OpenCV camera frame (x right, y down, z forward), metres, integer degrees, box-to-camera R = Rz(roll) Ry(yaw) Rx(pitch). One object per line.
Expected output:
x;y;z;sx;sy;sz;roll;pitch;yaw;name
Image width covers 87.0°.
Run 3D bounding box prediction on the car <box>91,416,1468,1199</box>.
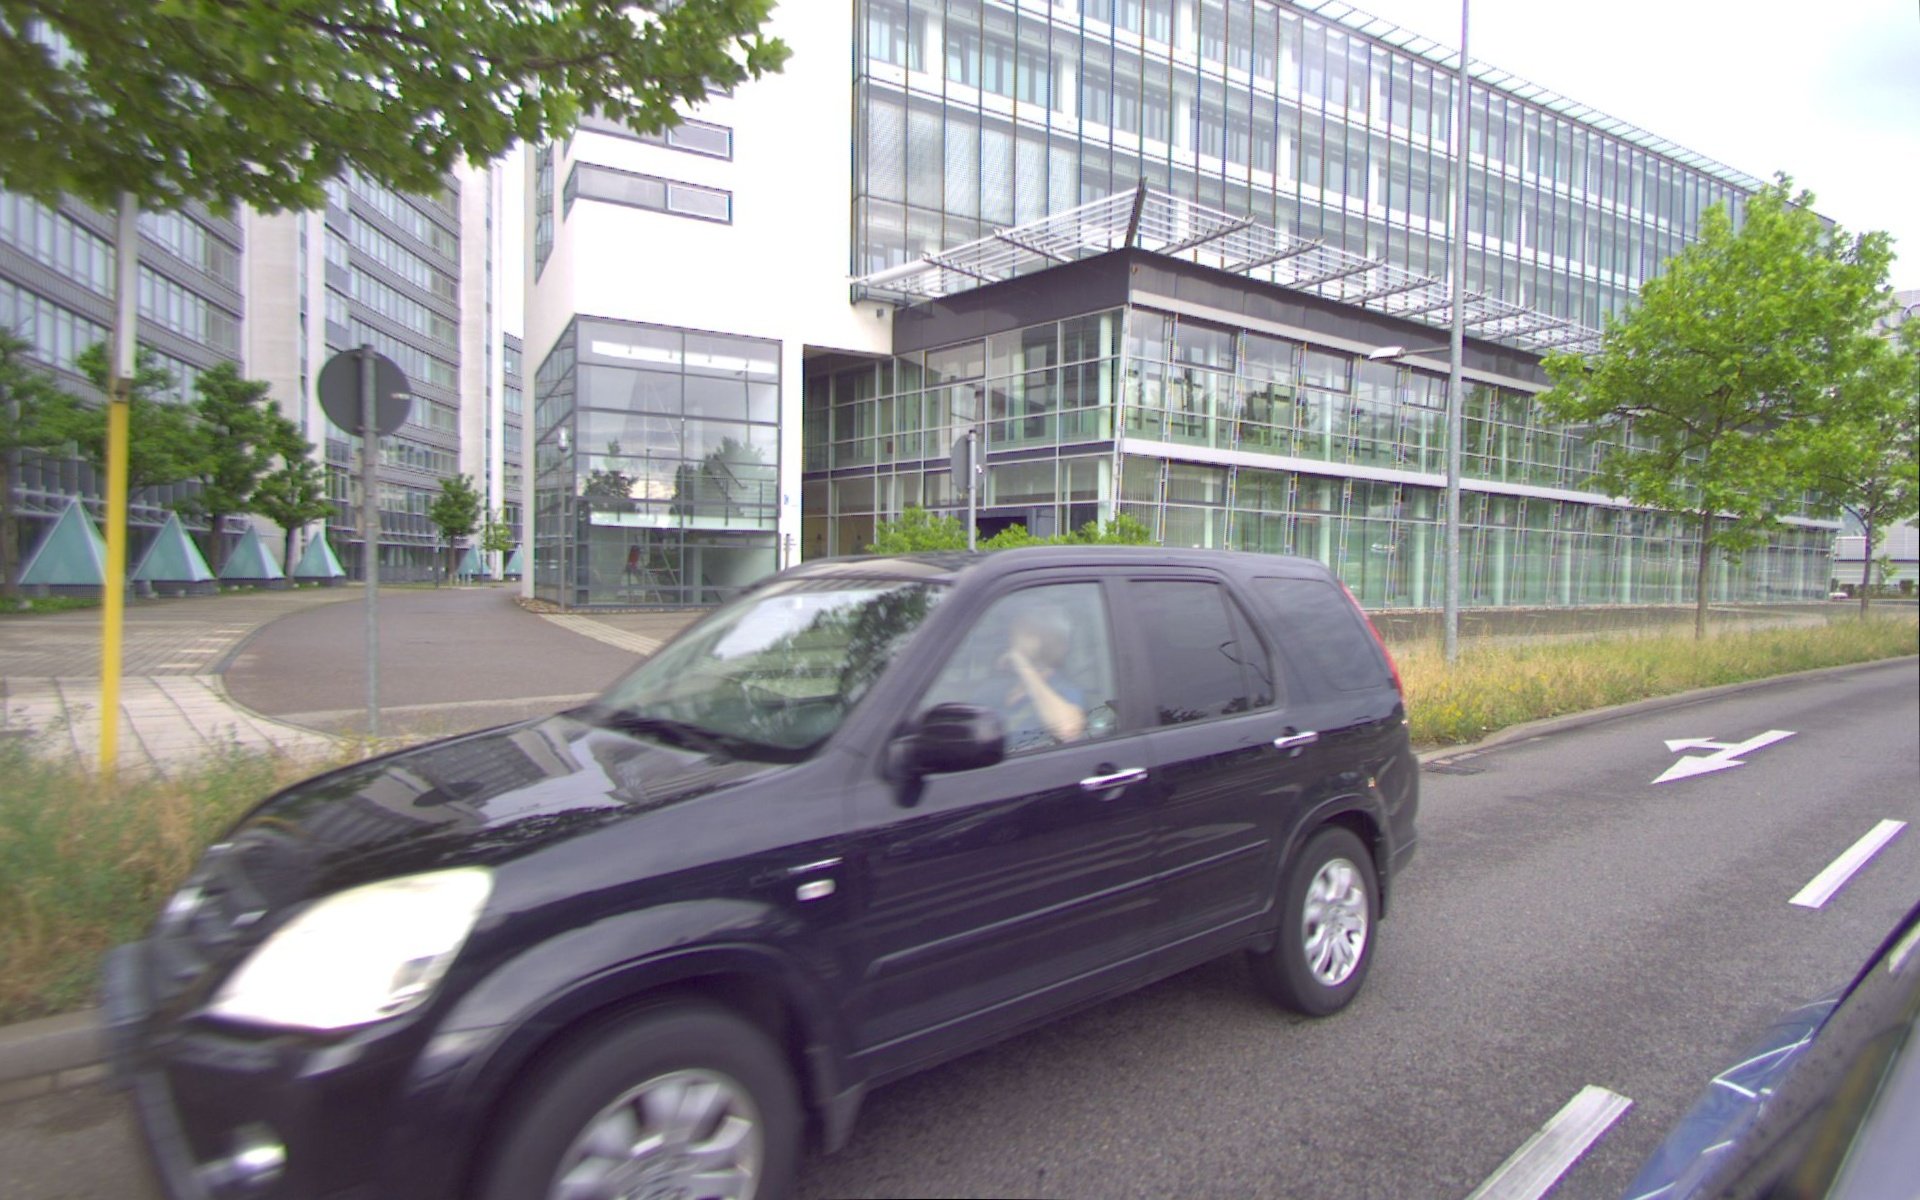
-0.122;0.549;3.438;4.249;1.650;1.769;-1;0;-40;car
